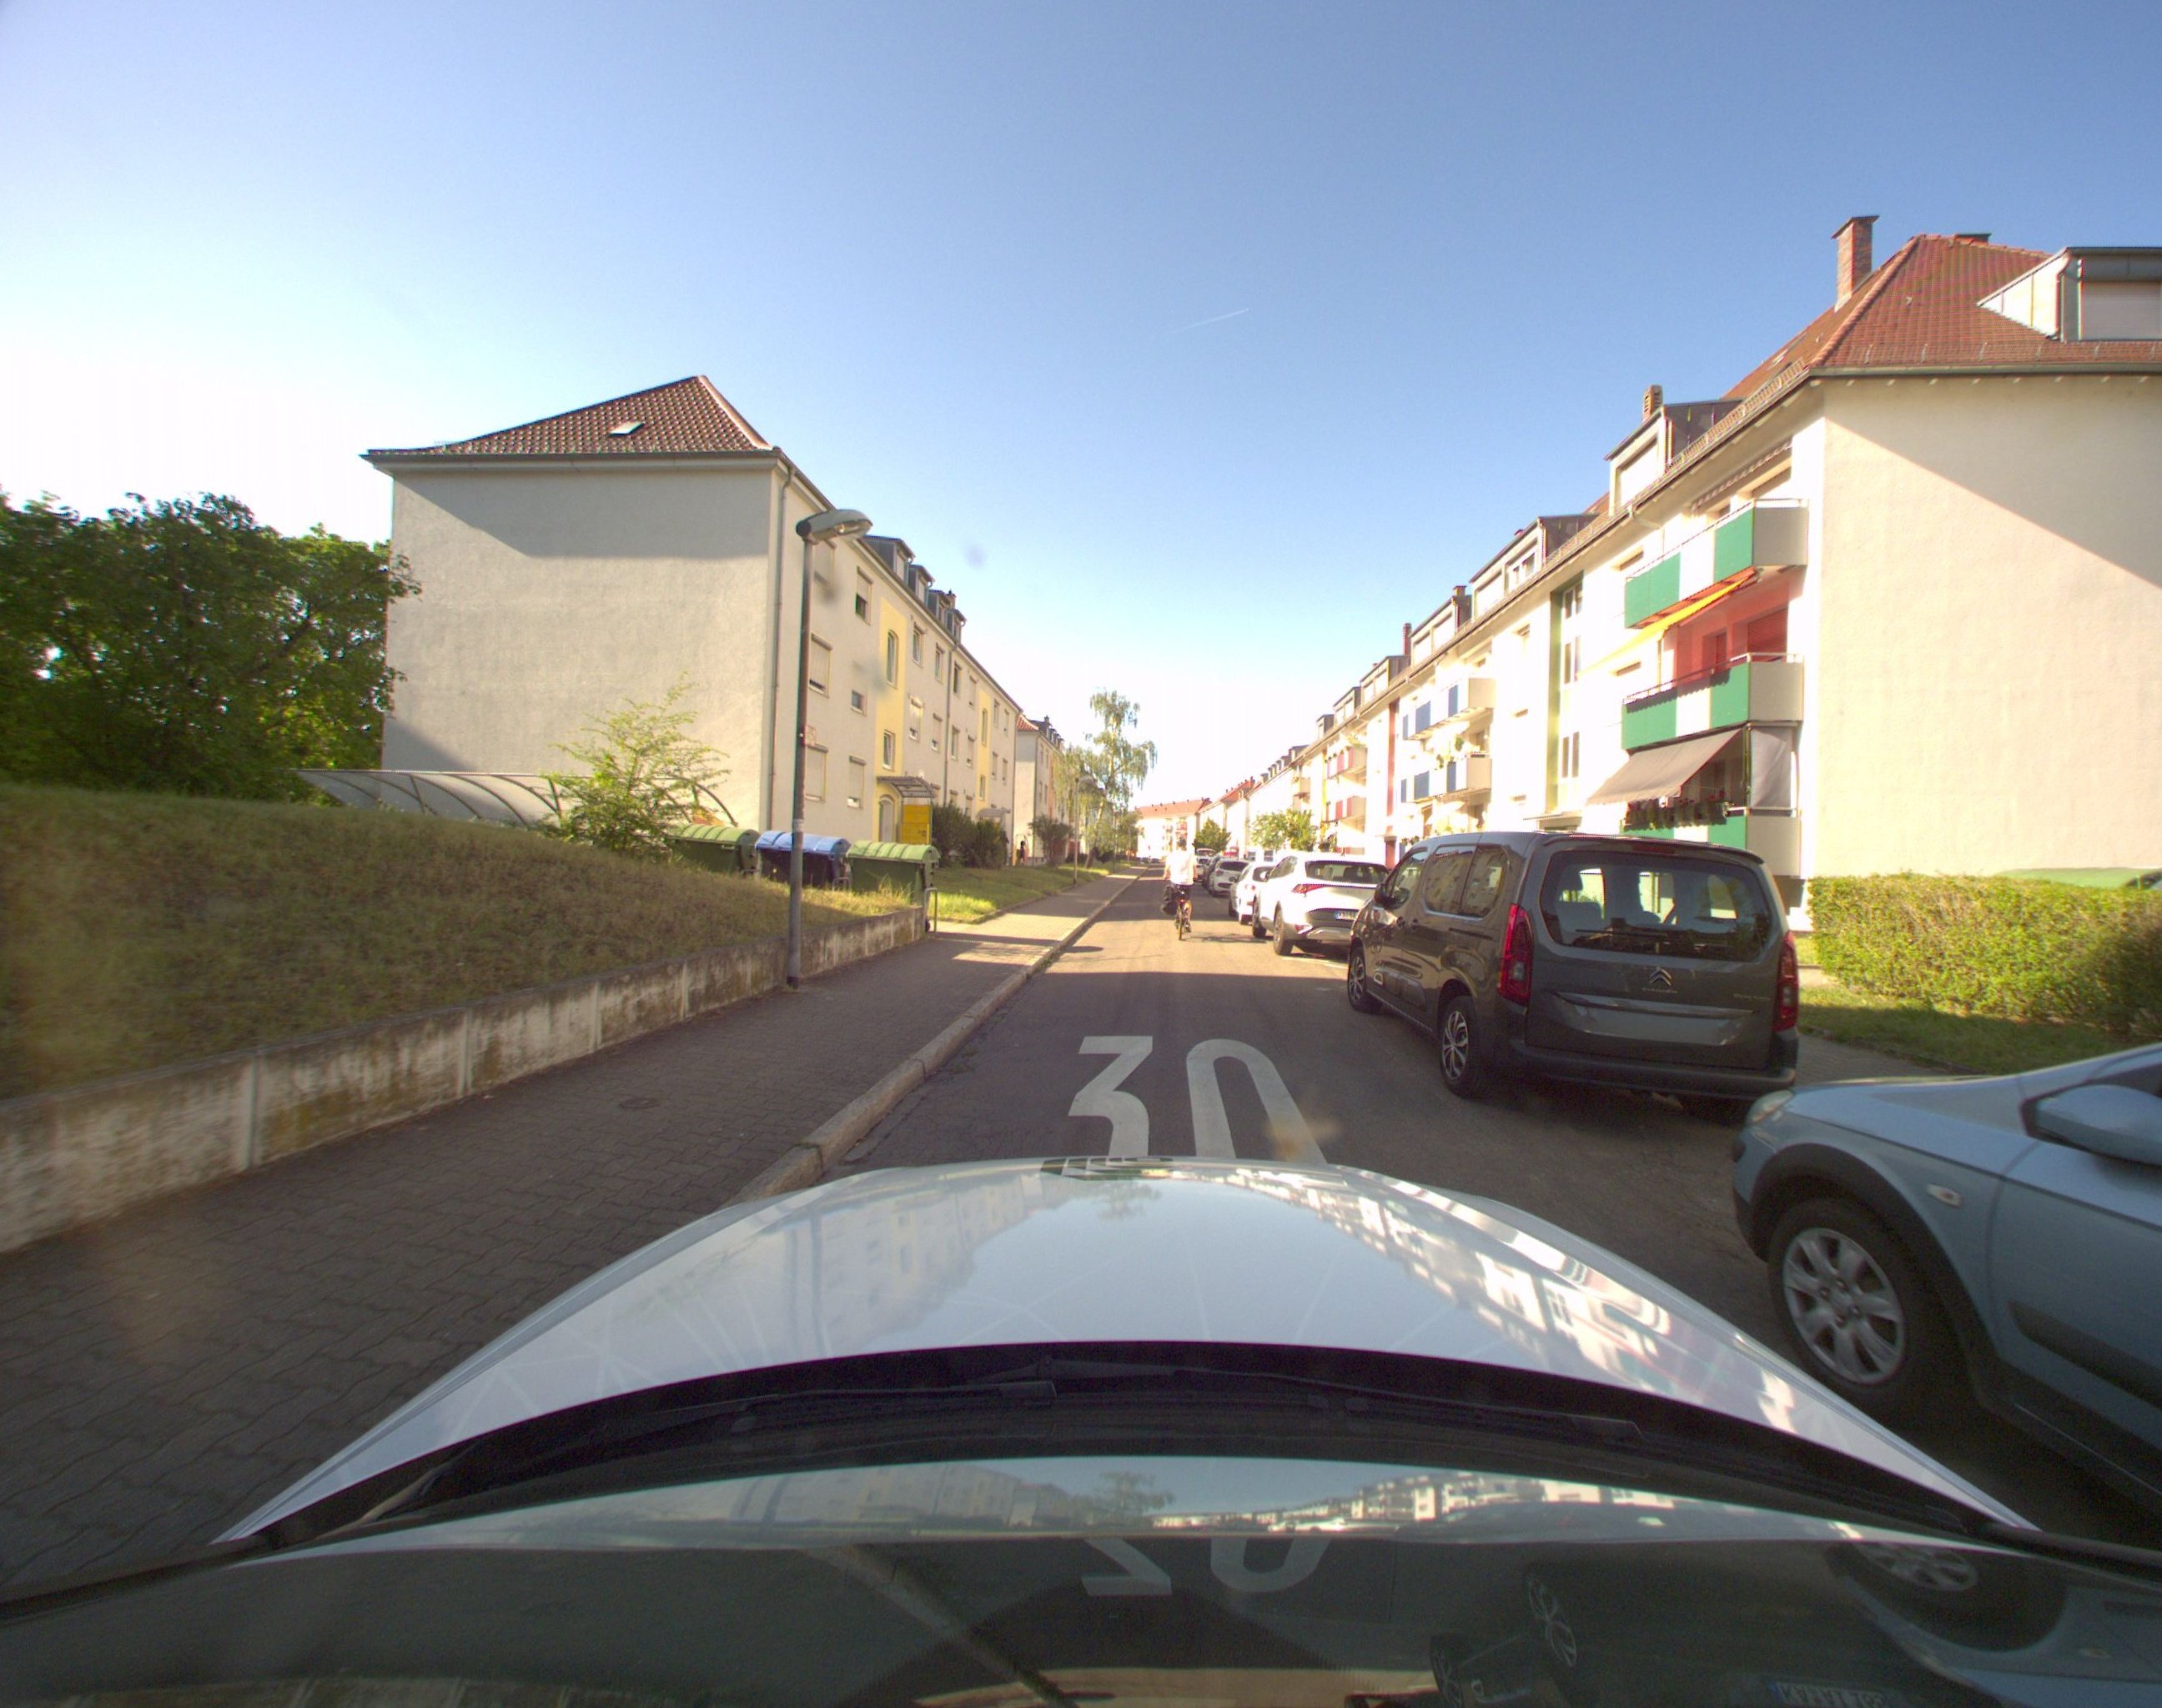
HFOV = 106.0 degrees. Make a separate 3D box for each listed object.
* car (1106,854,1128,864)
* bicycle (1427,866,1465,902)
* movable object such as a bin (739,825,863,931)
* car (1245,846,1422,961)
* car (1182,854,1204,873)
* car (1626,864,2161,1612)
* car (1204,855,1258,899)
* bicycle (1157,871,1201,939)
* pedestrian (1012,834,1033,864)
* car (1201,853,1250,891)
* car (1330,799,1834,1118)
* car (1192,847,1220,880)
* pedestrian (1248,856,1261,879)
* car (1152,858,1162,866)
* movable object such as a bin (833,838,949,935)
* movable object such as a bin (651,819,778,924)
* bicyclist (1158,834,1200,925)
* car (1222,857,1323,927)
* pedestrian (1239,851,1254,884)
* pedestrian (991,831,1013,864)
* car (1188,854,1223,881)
[{"bbox_3d":[6.777,1.024,154.170,3.969,1.801,2.002,1,0,4],"label":"car"},{"bbox_3d":[11.444,0.923,25.567,0.512,1.054,1.868,2,0,6],"label":"bicycle"},{"bbox_3d":[-4.583,0.383,13.453,1.492,1.622,1.265,2,0,5],"label":"movable object such as a bin"},{"bbox_3d":[4.035,0.721,13.749,1.974,1.592,4.130,2,0,5],"label":"car"},{"bbox_3d":[10.268,0.845,75.152,1.797,1.604,4.411,2,0,6],"label":"car"},{"bbox_3d":[2.907,0.767,1.268,1.646,1.429,3.903,2,0,3],"label":"car"},{"bbox_3d":[5.711,0.841,31.340,1.624,1.491,3.628,3,0,4],"label":"car"},{"bbox_3d":[1.774,0.895,14.923,0.658,1.127,1.768,3,0,4],"label":"bicycle"},{"bbox_3d":[-3.091,-0.258,43.136,0.859,1.522,1.070,2,0,5],"label":"pedestrian"},{"bbox_3d":[6.382,0.778,36.251,1.826,1.558,4.006,2,0,6],"label":"car"},{"bbox_3d":[3.465,0.589,6.747,1.854,1.730,4.302,2,0,6],"label":"car"},{"bbox_3d":[8.402,0.624,55.114,1.611,2.143,4.006,2,0,6],"label":"car"},{"bbox_3d":[12.849,1.027,60.316,0.705,1.678,0.798,1,-1,38],"label":"pedestrian"},{"bbox_3d":[15.845,1.575,169.624,1.750,1.575,3.905,1,0,2],"label":"car"},{"bbox_3d":[-3.092,0.512,13.418,1.485,1.478,1.267,2,0,5],"label":"movable object such as a bin"},{"bbox_3d":[-6.053,0.281,13.543,1.452,1.613,1.193,2,0,5],"label":"movable object such as a bin"},{"bbox_3d":[1.788,0.459,14.925,0.690,1.596,0.792,2,-1,5],"label":"bicyclist"},{"bbox_3d":[4.415,0.823,19.263,1.749,1.432,3.633,2,0,4],"label":"car"},{"bbox_3d":[10.478,0.848,51.707,0.787,2.014,1.084,1,0,6],"label":"pedestrian"},{"bbox_3d":[-4.166,-0.336,43.022,0.966,1.715,0.948,2,-1,5],"label":"pedestrian"},{"bbox_3d":[7.499,0.787,49.326,1.885,1.496,4.098,2,0,6],"label":"car"}]
